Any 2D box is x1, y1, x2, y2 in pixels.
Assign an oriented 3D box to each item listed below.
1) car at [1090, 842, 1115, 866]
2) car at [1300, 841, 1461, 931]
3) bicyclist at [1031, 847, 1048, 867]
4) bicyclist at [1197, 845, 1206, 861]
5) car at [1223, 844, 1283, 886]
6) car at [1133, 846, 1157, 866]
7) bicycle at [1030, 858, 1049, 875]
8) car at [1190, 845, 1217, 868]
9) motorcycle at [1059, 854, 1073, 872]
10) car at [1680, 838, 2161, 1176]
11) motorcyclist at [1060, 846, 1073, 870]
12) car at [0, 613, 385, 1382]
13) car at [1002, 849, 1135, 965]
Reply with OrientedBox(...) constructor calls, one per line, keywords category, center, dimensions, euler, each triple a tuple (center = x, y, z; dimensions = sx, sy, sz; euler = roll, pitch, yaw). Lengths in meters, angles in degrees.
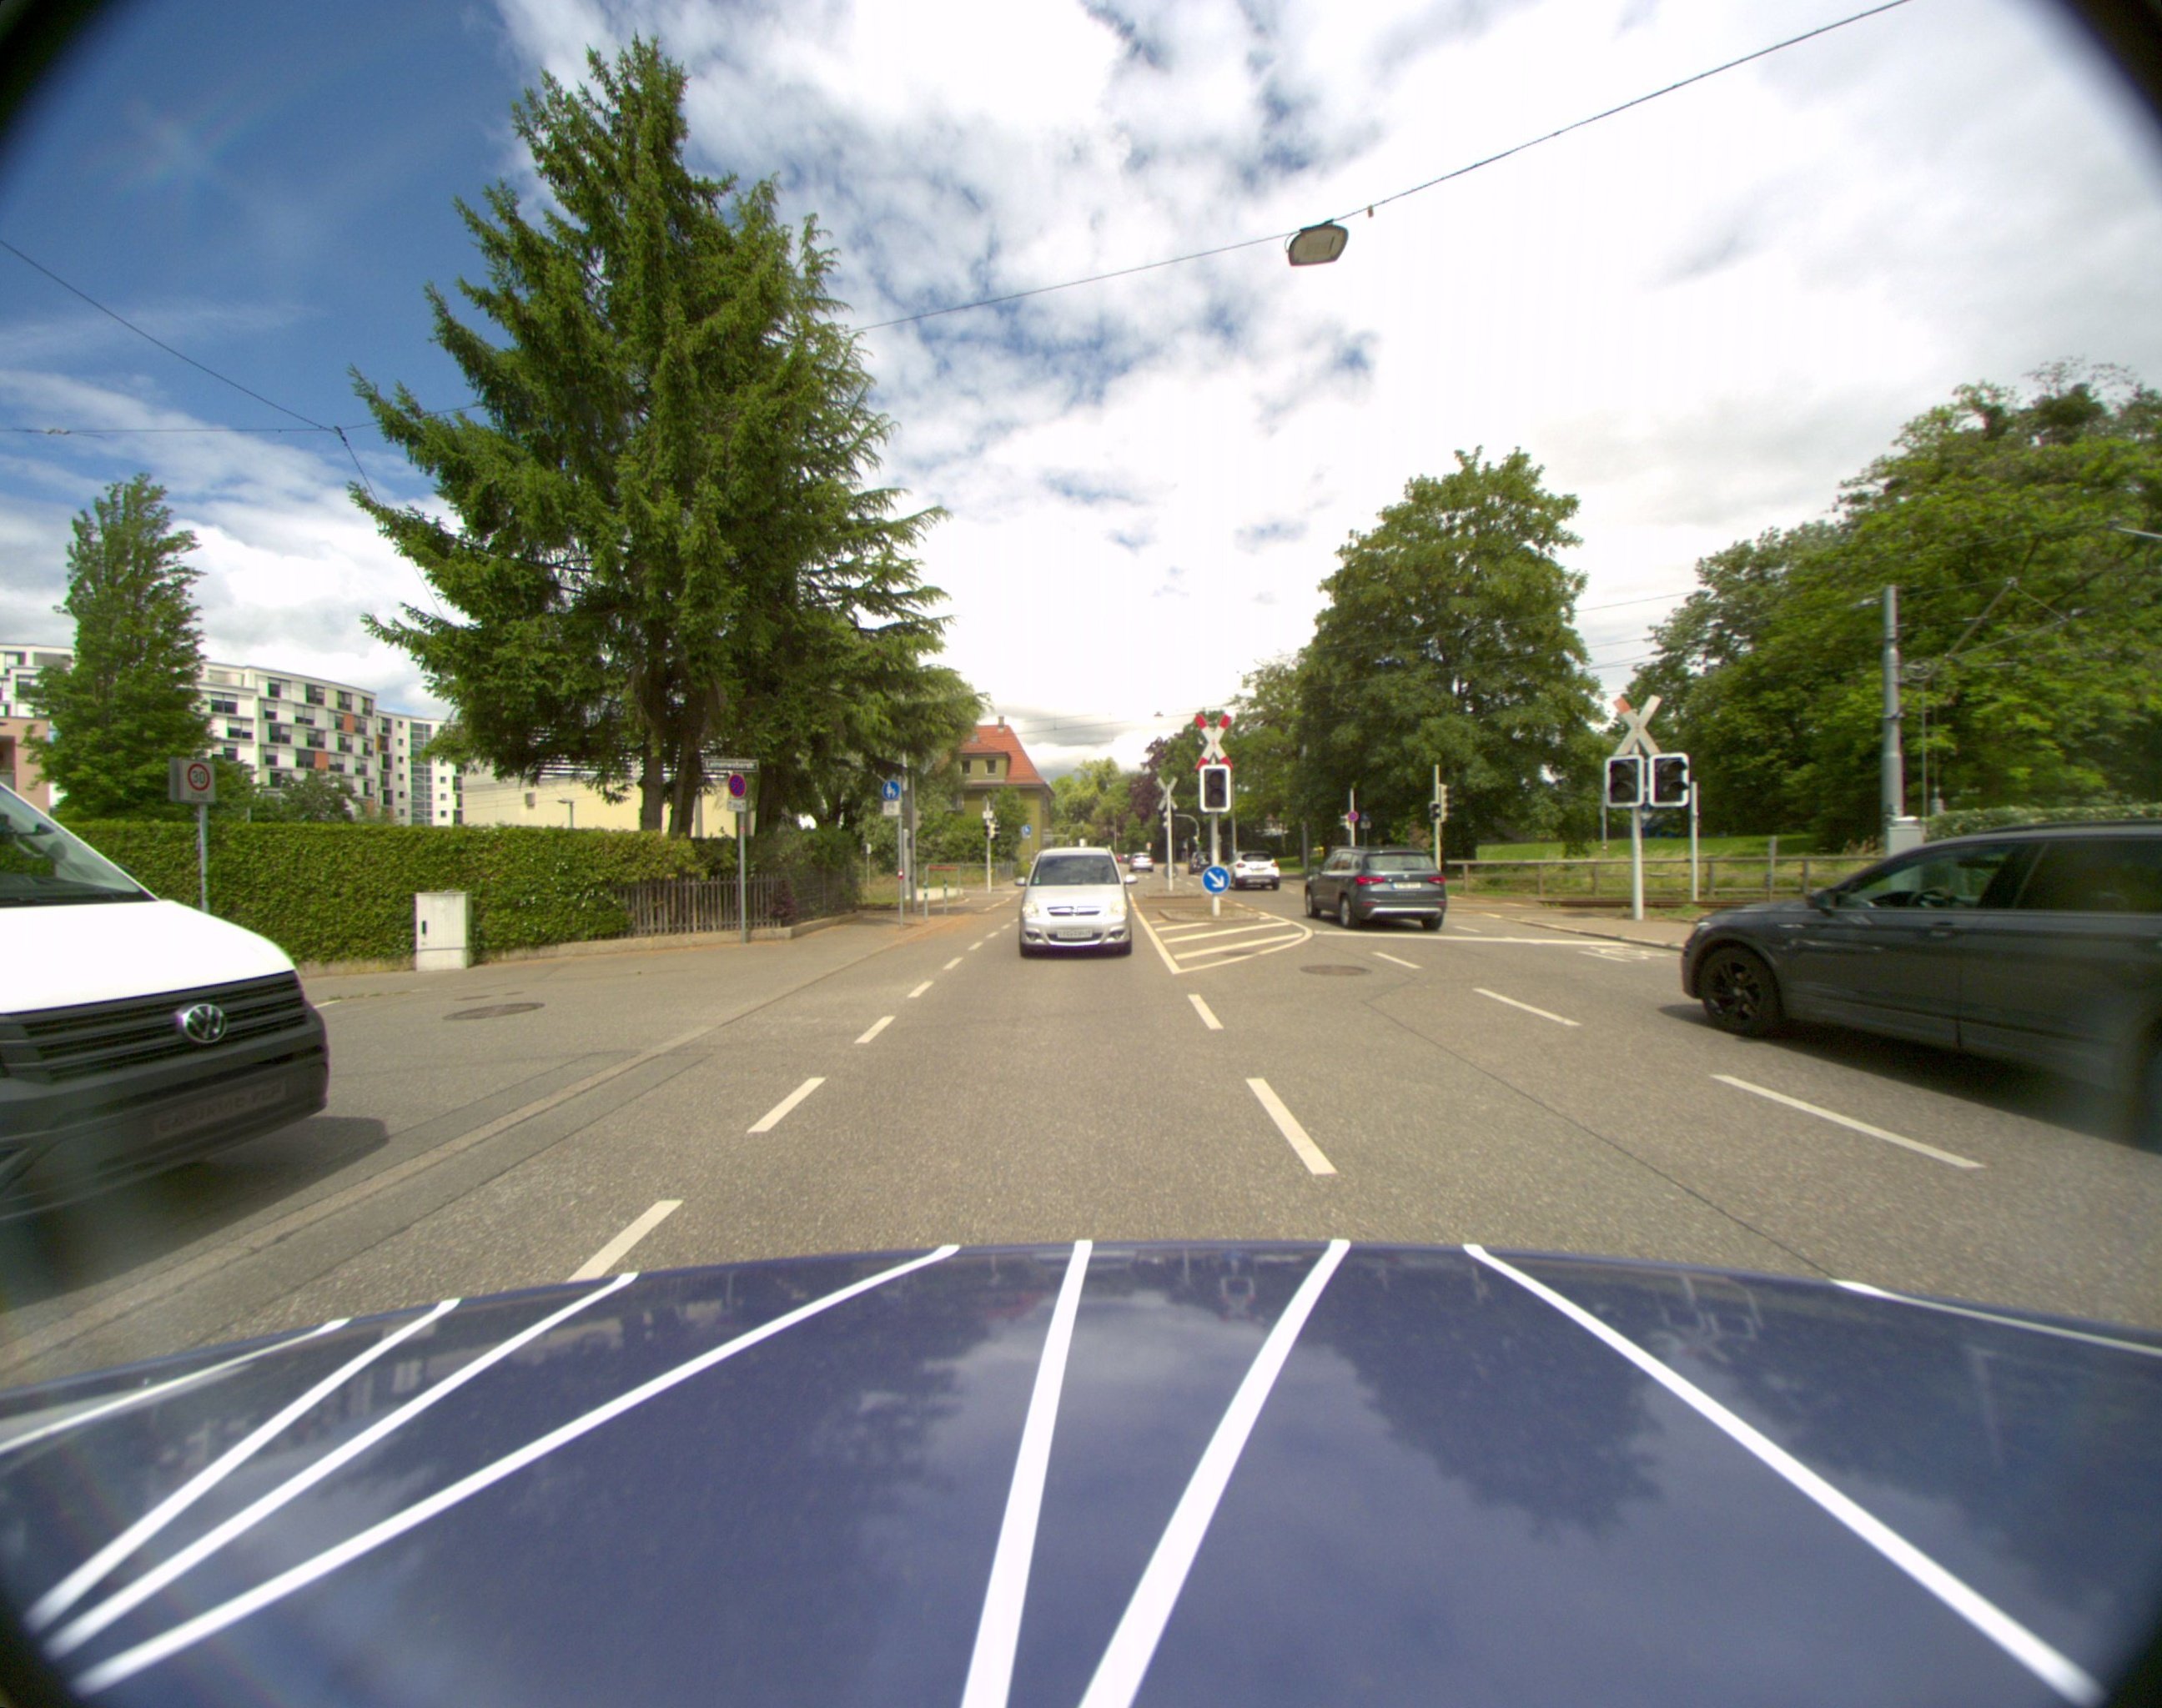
OrientedBox(category="car", center=(1.866, -0.051, 66.503), dimensions=(1.999, 1.983, 4.370), euler=(0, 1, -1))
OrientedBox(category="car", center=(5.917, 0.563, 15.570), dimensions=(1.779, 1.594, 4.039), euler=(0, 1, 1))
OrientedBox(category="bicyclist", center=(-2.585, 0.189, 47.708), dimensions=(0.934, 1.240, 1.102), euler=(1, 1, 4))
OrientedBox(category="bicyclist", center=(12.405, -0.116, 78.393), dimensions=(0.807, 1.599, 0.772), euler=(-3, 1, 2))
OrientedBox(category="car", center=(6.953, 0.413, 31.068), dimensions=(1.779, 1.594, 4.040), euler=(-1, 0, 4))
OrientedBox(category="car", center=(4.940, 0.139, 59.239), dimensions=(1.692, 1.450, 4.069), euler=(-2, 1, 3))
OrientedBox(category="bicycle", center=(-2.592, 0.774, 47.743), dimensions=(0.934, 1.034, 1.915), euler=(1, 0, 4))
OrientedBox(category="car", center=(8.217, 0.155, 51.170), dimensions=(1.578, 1.501, 2.789), euler=(-1, 0, 5))
OrientedBox(category="motorcycle", center=(-0.950, 0.559, 49.444), dimensions=(0.837, 1.101, 1.800), euler=(0, 1, 1))
OrientedBox(category="car", center=(5.982, 0.720, 4.358), dimensions=(1.779, 1.594, 4.168), euler=(0, 1, 0))
OrientedBox(category="motorcyclist", center=(-0.958, 0.258, 49.451), dimensions=(0.837, 1.547, 0.650), euler=(0, 1, 1))
OrientedBox(category="car", center=(-6.673, 0.539, 2.740), dimensions=(6.015, 2.566, 1.999), euler=(-1, 0, -8))
OrientedBox(category="car", center=(-0.075, 0.722, 12.475), dimensions=(1.780, 1.519, 4.000), euler=(-2, 1, 3))
